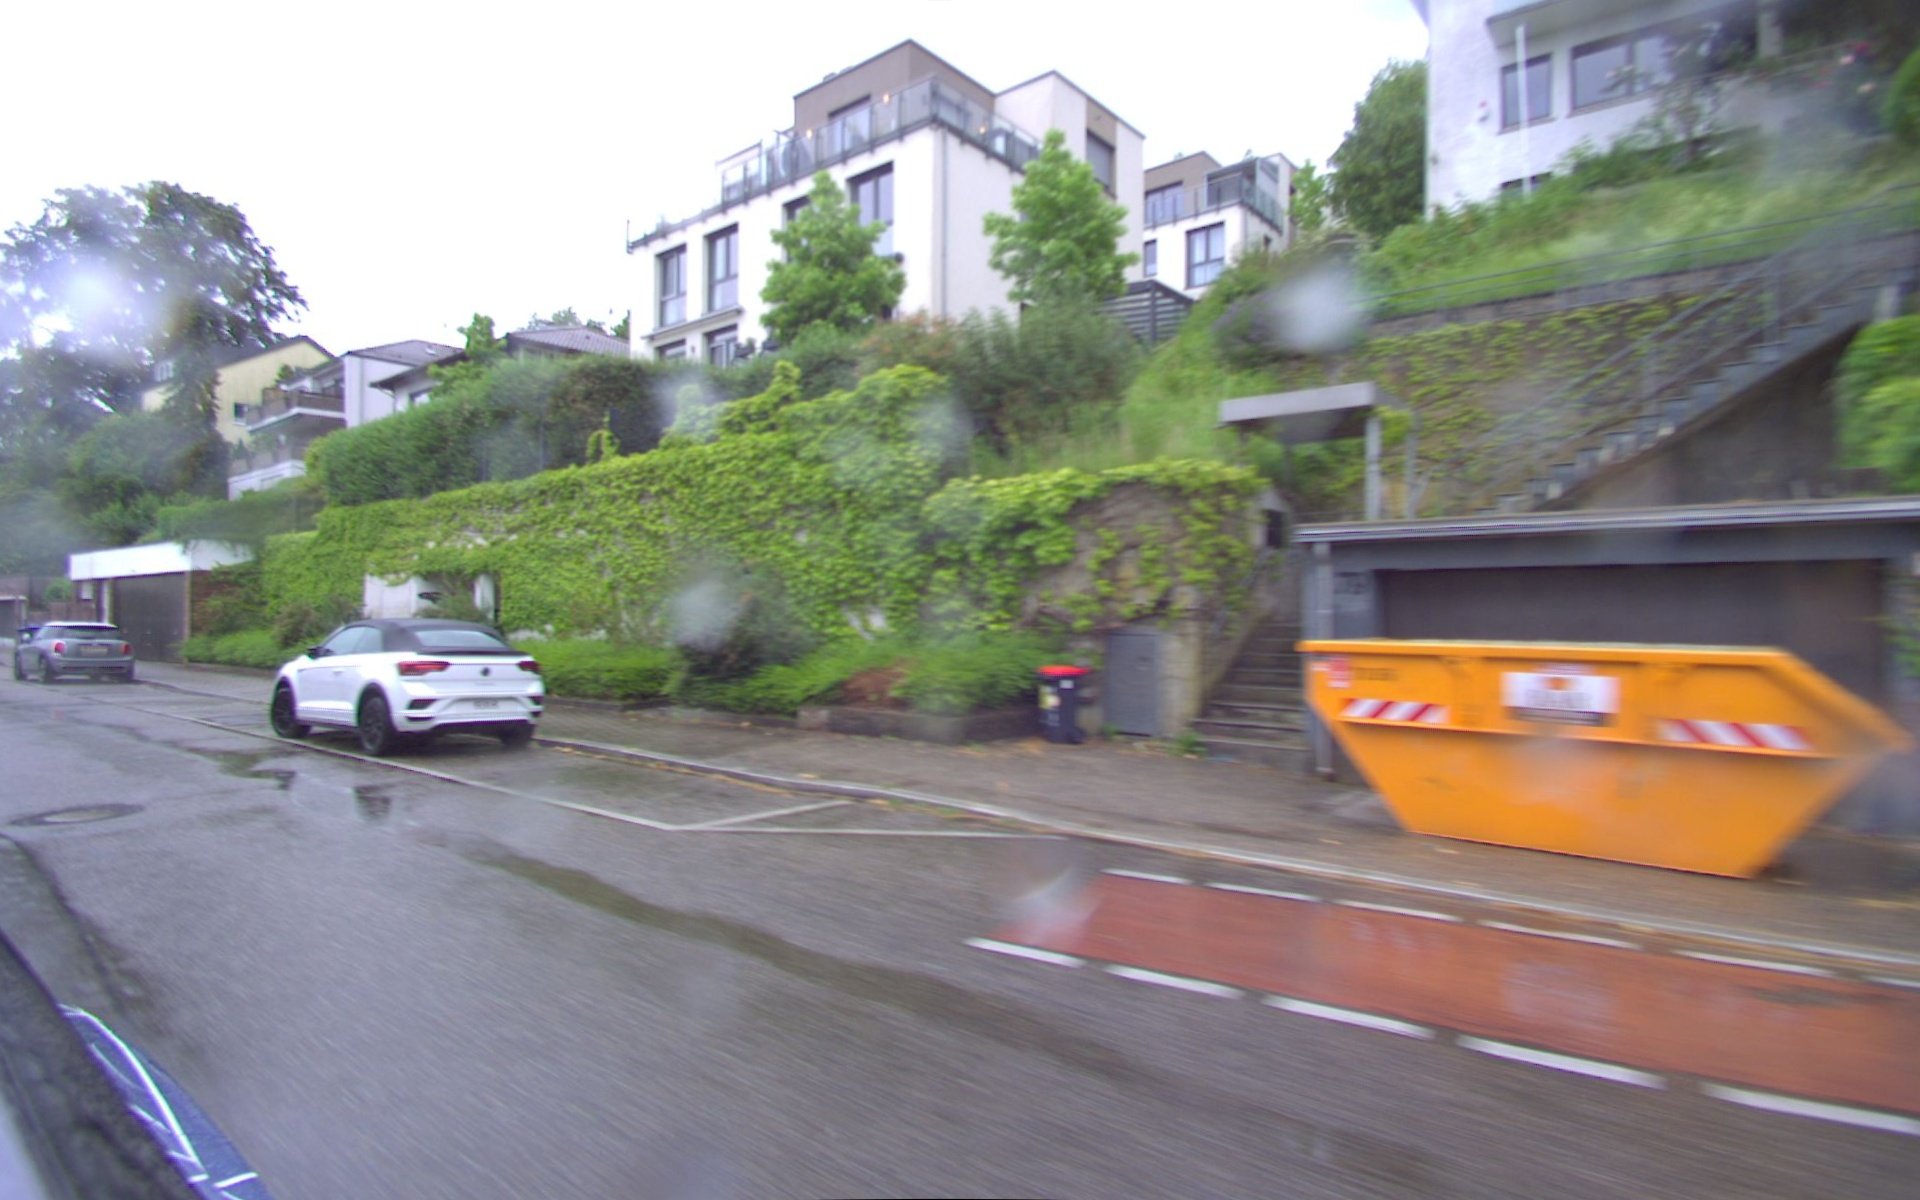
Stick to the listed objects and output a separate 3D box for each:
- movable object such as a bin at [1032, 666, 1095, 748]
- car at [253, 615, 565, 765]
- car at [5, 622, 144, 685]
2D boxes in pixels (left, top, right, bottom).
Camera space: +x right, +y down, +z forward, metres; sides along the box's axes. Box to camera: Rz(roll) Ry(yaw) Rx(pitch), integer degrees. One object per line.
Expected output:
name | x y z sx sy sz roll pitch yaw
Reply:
movable object such as a bin | 1.150 1.178 11.253 0.549 0.826 0.394 3 2 39
car | -6.783 0.963 12.298 4.213 1.509 1.739 -1 -2 37
car | -21.554 1.275 24.595 3.763 1.413 1.740 -1 -4 37
